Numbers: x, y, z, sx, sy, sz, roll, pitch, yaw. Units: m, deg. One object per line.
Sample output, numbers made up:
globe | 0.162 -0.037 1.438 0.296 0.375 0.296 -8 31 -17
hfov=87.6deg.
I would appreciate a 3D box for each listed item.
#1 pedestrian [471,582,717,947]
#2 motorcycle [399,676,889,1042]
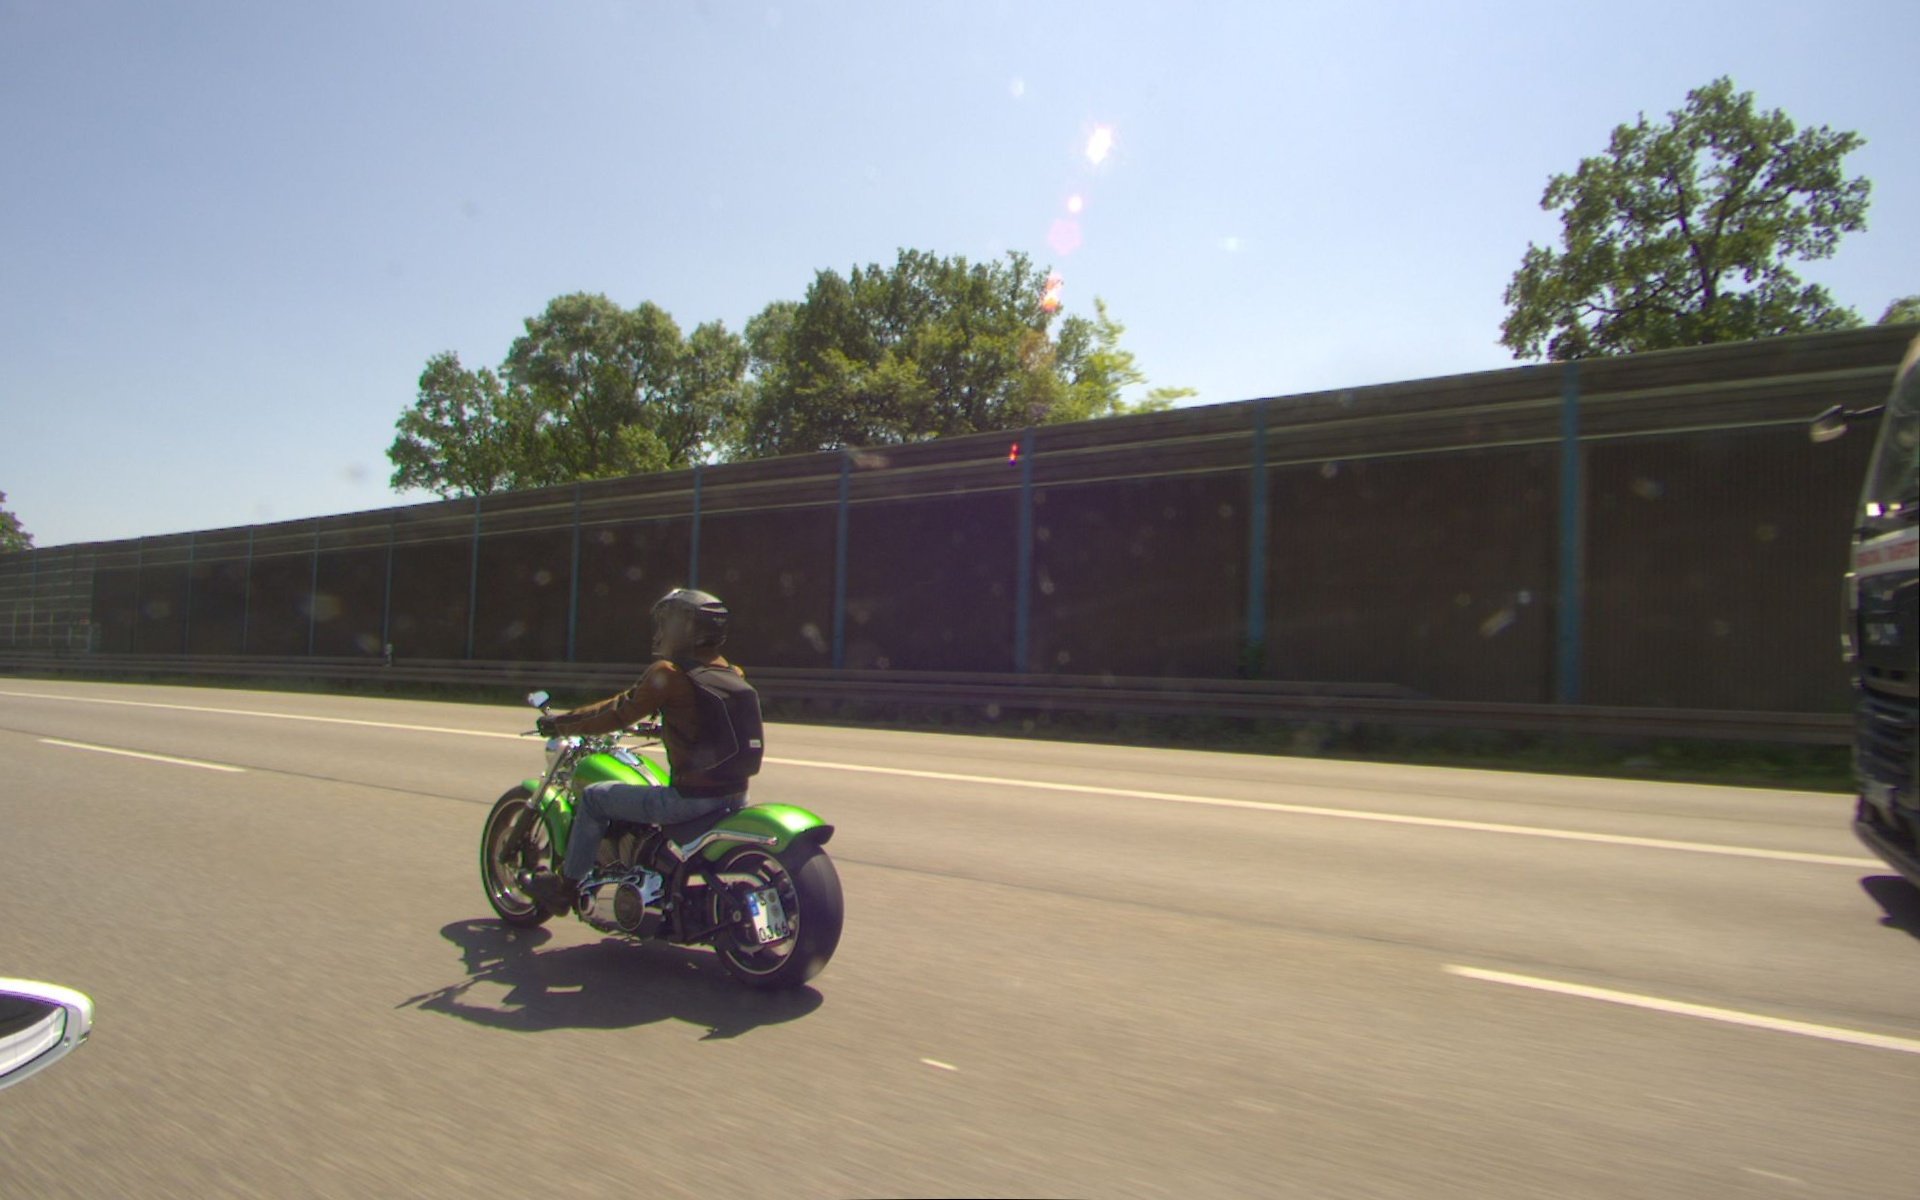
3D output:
pedestrian | -1.672 0.693 4.647 0.629 1.497 0.850 0 -1 32
motorcycle | -1.482 0.988 4.517 2.244 1.197 0.858 0 -2 33
